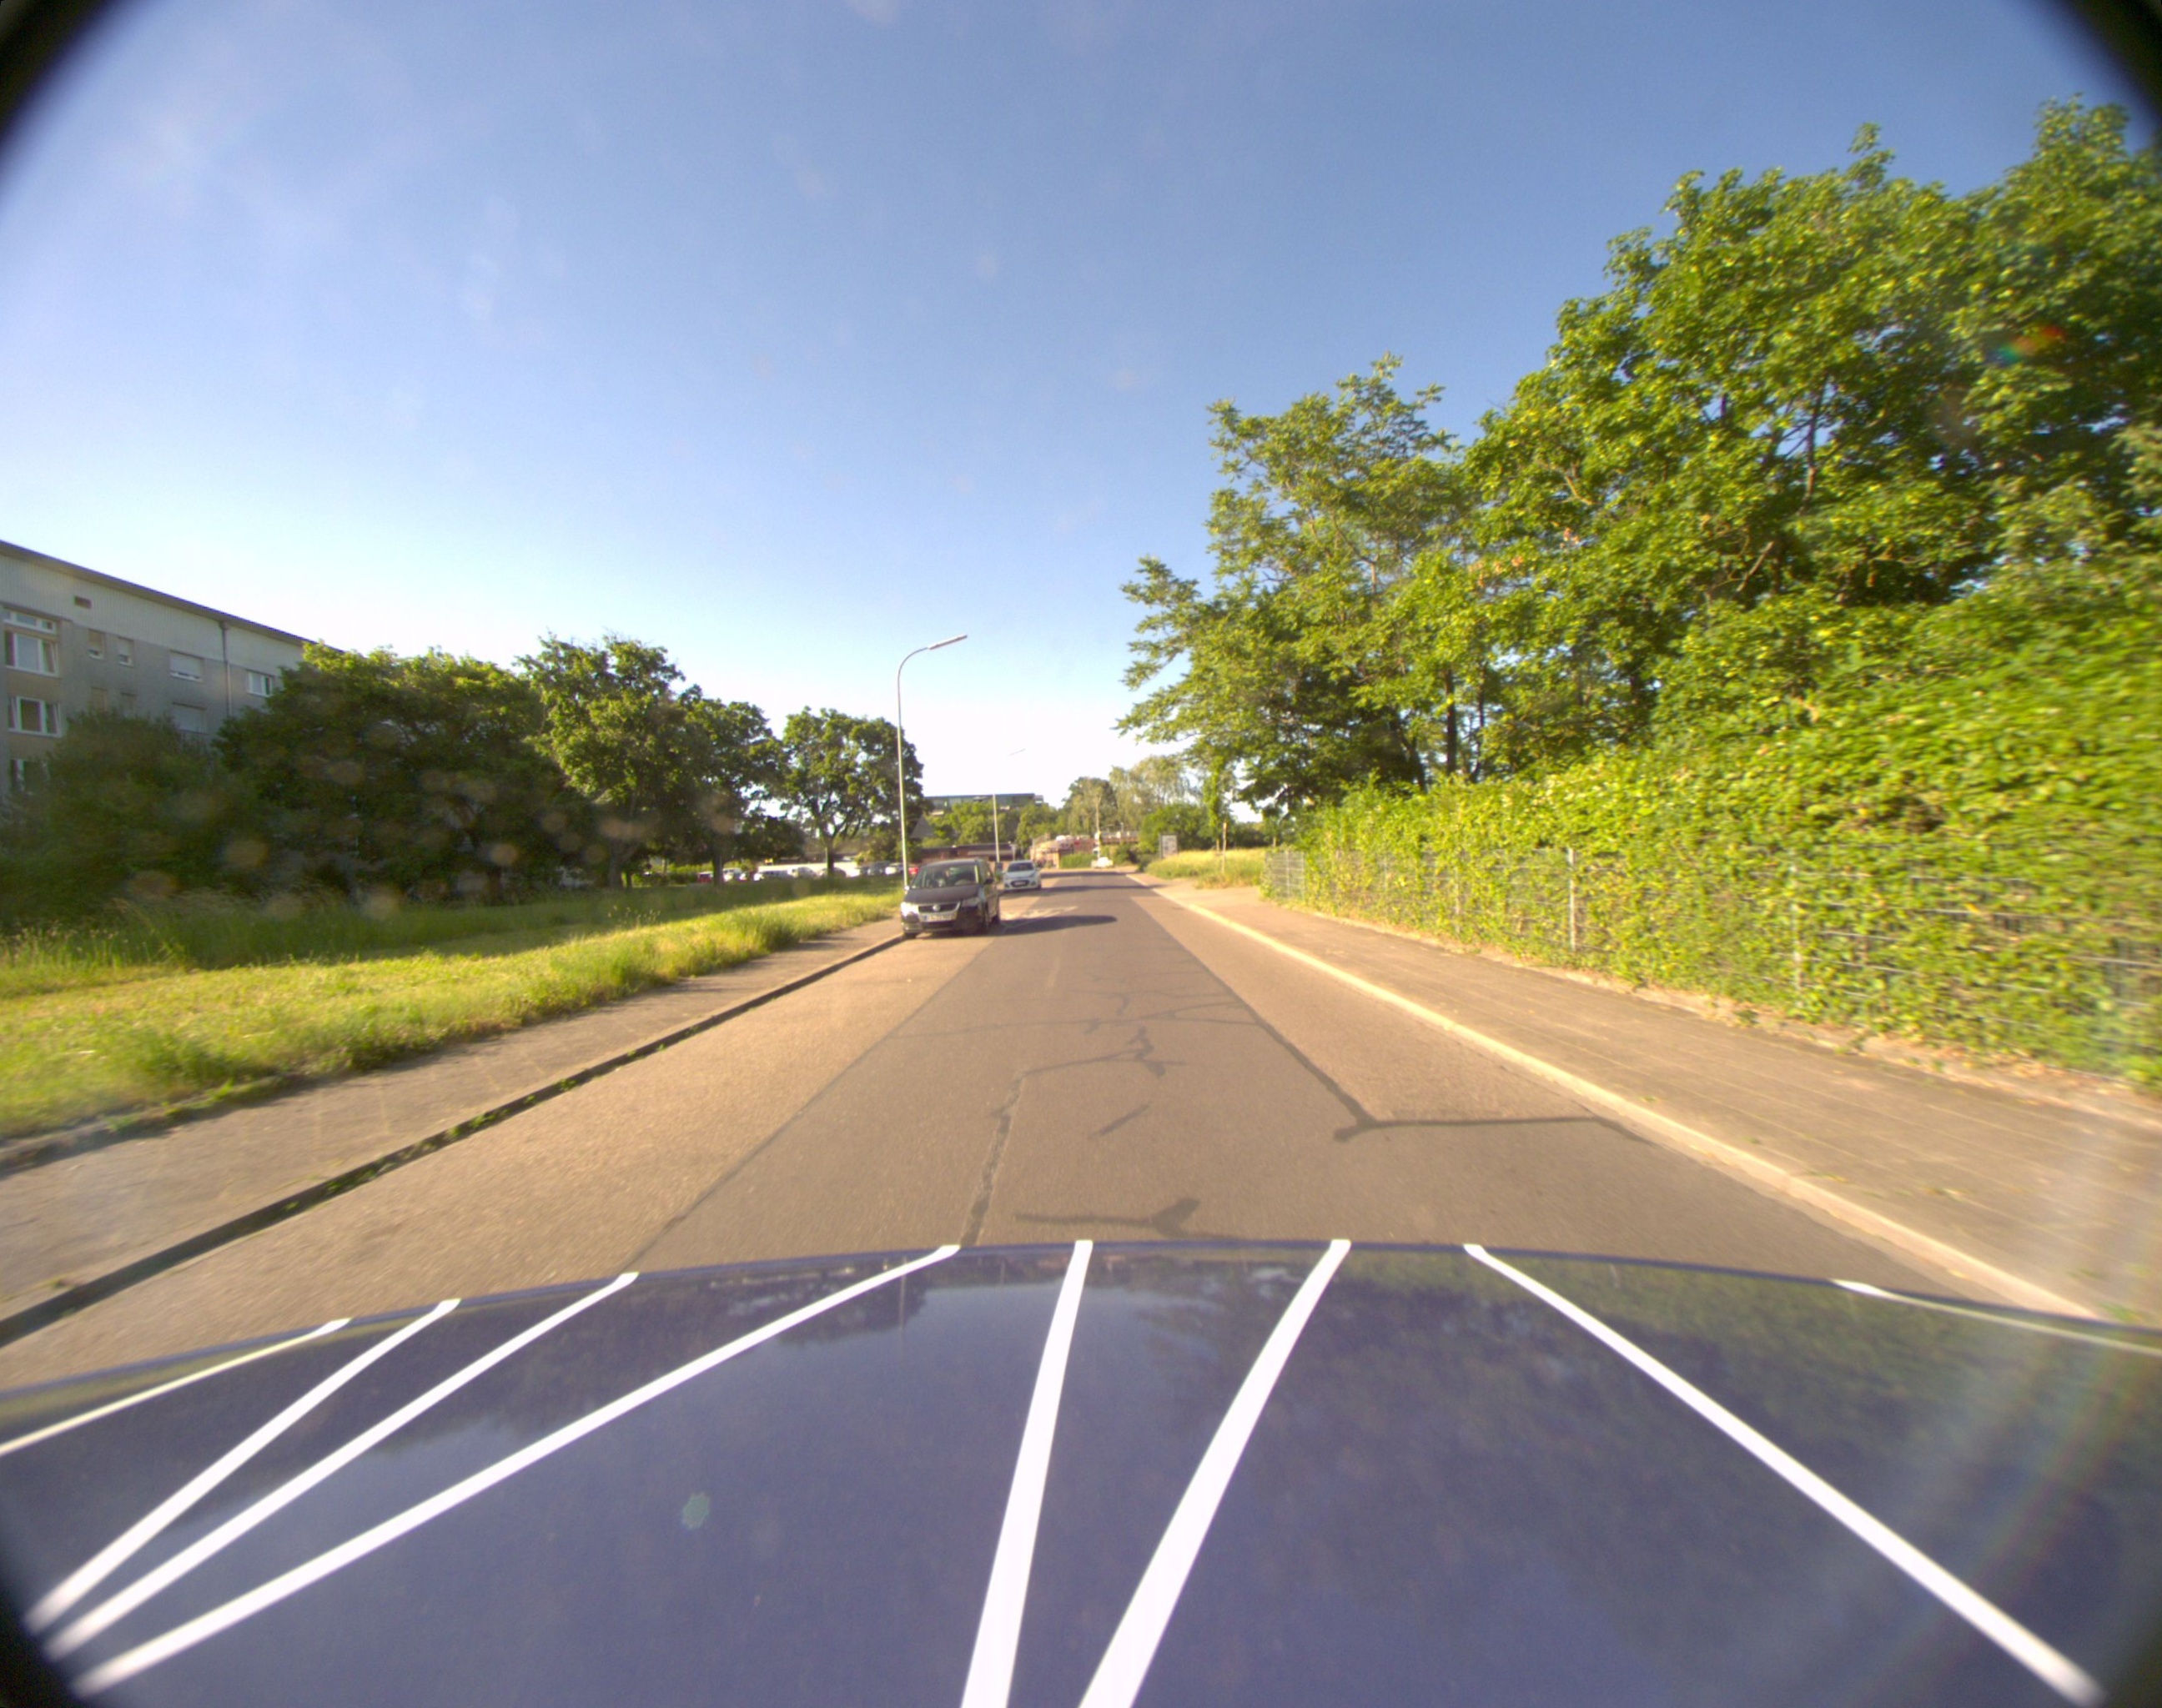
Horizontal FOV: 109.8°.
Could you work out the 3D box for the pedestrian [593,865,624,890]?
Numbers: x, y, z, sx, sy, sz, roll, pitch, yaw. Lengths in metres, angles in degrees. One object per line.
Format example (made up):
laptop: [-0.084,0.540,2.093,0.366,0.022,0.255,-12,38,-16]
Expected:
pedestrian: [-41.114,2.037,66.168,1.490,2.019,1.699,-2,0,3]

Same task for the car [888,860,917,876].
car: [-21.955,1.730,93.570,1.858,1.763,4.004,-2,0,14]

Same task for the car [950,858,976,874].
car: [-14.335,1.434,92.357,1.954,1.849,4.002,-2,0,8]

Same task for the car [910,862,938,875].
car: [-19.357,1.768,93.828,1.862,1.461,4.004,-2,0,14]

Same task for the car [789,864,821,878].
car: [-35.668,2.204,98.243,1.953,1.552,4.004,-2,0,14]

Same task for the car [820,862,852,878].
car: [-31.271,1.996,97.108,1.953,1.763,4.003,-2,2,14]

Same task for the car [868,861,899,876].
car: [-24.451,1.803,94.162,1.953,1.763,4.004,-2,0,14]

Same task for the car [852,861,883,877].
car: [-26.773,1.886,95.498,1.953,1.763,4.004,-2,0,14]

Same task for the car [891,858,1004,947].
car: [-2.878,0.974,17.315,1.844,1.642,4.467,-3,0,-2]

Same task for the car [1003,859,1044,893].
car: [-2.799,1.037,37.606,1.656,1.471,3.916,-4,0,0]

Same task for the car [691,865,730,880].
car: [-50.244,2.502,103.086,1.953,1.735,4.709,-2,0,17]

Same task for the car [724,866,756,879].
car: [-45.319,2.472,101.137,1.798,1.552,4.004,-2,0,13]

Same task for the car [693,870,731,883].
car: [-43.448,2.645,89.428,3.632,1.442,2.002,-2,0,17]

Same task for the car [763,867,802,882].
car: [-33.876,2.291,86.187,3.632,1.515,2.002,-2,0,17]

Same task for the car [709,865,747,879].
car: [-47.490,2.425,102.272,1.953,1.735,4.709,-2,0,17]

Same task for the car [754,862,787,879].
car: [-40.698,2.133,99.598,1.997,2.002,4.003,-2,0,12]

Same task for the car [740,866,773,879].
car: [-42.856,2.394,100.496,1.953,1.552,4.004,-2,0,14]

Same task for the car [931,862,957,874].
car: [-16.686,1.730,92.714,1.779,1.316,4.003,-2,0,11]
